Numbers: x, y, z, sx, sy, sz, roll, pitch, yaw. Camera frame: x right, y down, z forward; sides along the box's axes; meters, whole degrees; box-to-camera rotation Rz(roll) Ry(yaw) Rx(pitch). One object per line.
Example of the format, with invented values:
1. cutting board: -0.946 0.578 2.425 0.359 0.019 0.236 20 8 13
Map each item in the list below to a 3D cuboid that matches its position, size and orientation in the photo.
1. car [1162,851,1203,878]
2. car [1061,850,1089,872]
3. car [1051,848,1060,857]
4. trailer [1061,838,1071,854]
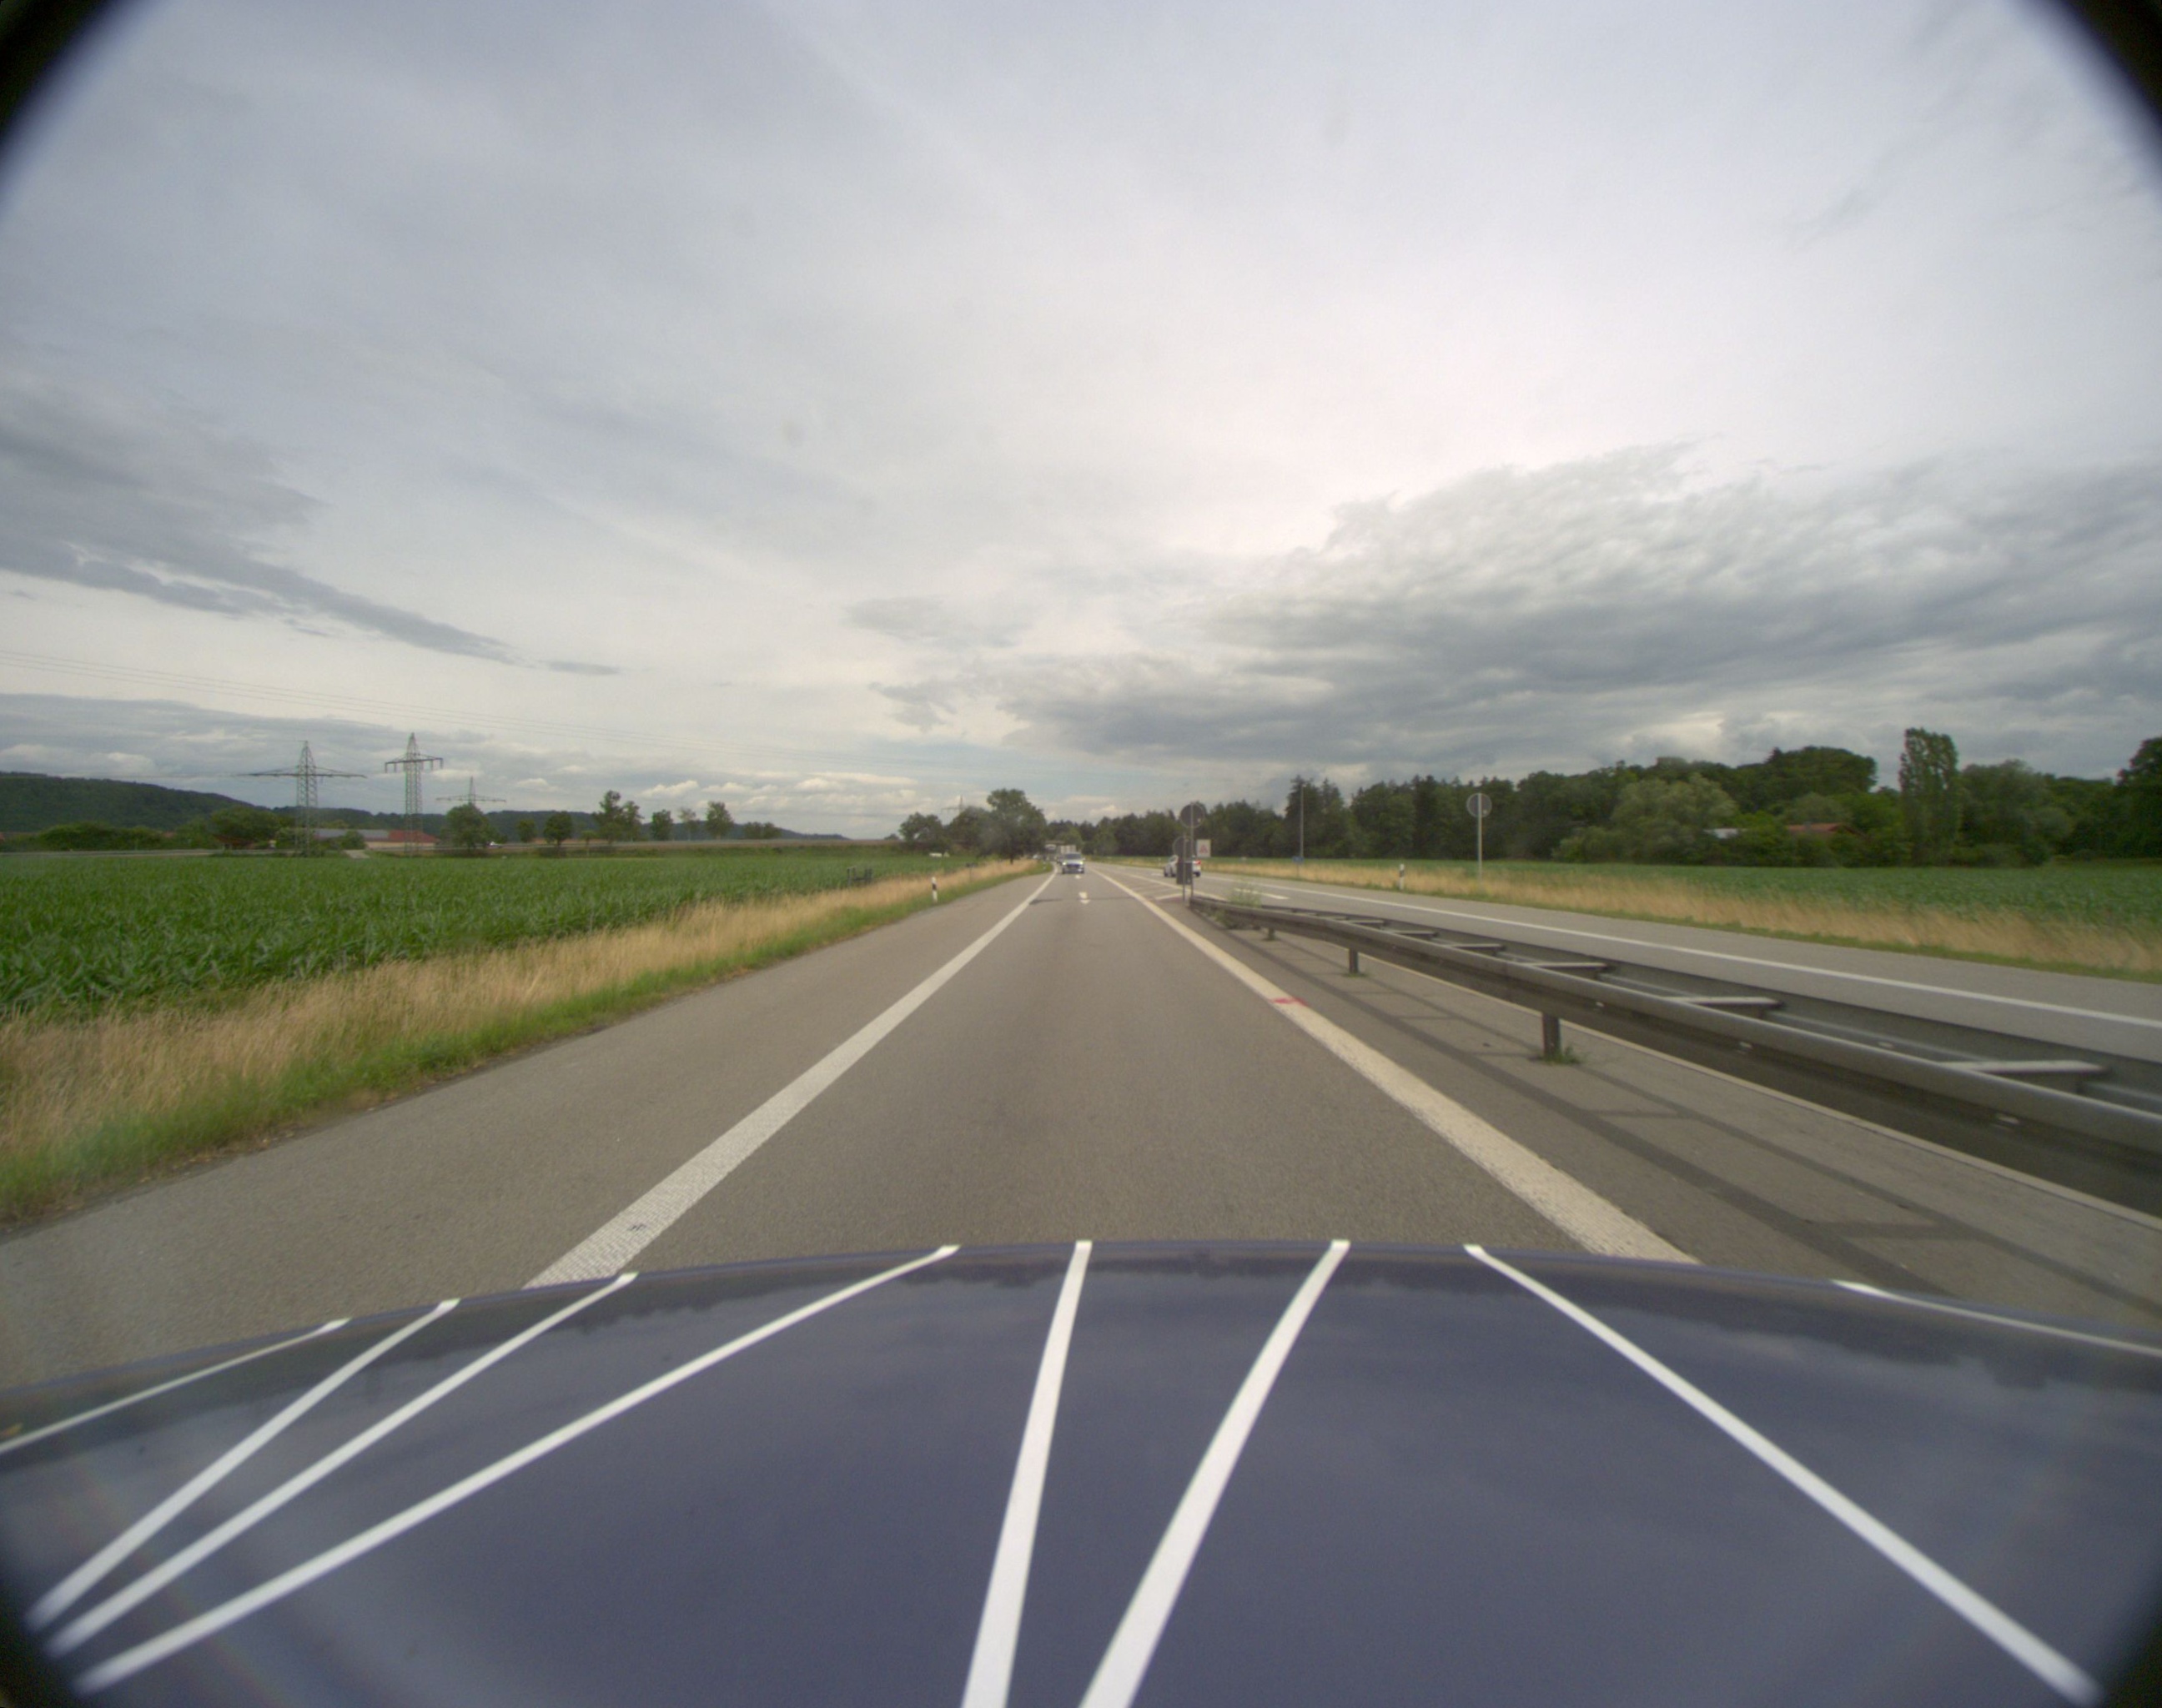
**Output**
1. car: 6.605 0.635 49.883 1.822 1.623 4.600 -2 1 -3
2. car: -0.574 0.566 66.422 1.924 1.823 3.997 -2 1 -7
3. car: -6.306 -0.327 186.993 1.998 2.002 4.000 -2 1 2
4. trailer: -3.833 -2.088 201.516 2.496 3.972 13.075 -1 0 -1
